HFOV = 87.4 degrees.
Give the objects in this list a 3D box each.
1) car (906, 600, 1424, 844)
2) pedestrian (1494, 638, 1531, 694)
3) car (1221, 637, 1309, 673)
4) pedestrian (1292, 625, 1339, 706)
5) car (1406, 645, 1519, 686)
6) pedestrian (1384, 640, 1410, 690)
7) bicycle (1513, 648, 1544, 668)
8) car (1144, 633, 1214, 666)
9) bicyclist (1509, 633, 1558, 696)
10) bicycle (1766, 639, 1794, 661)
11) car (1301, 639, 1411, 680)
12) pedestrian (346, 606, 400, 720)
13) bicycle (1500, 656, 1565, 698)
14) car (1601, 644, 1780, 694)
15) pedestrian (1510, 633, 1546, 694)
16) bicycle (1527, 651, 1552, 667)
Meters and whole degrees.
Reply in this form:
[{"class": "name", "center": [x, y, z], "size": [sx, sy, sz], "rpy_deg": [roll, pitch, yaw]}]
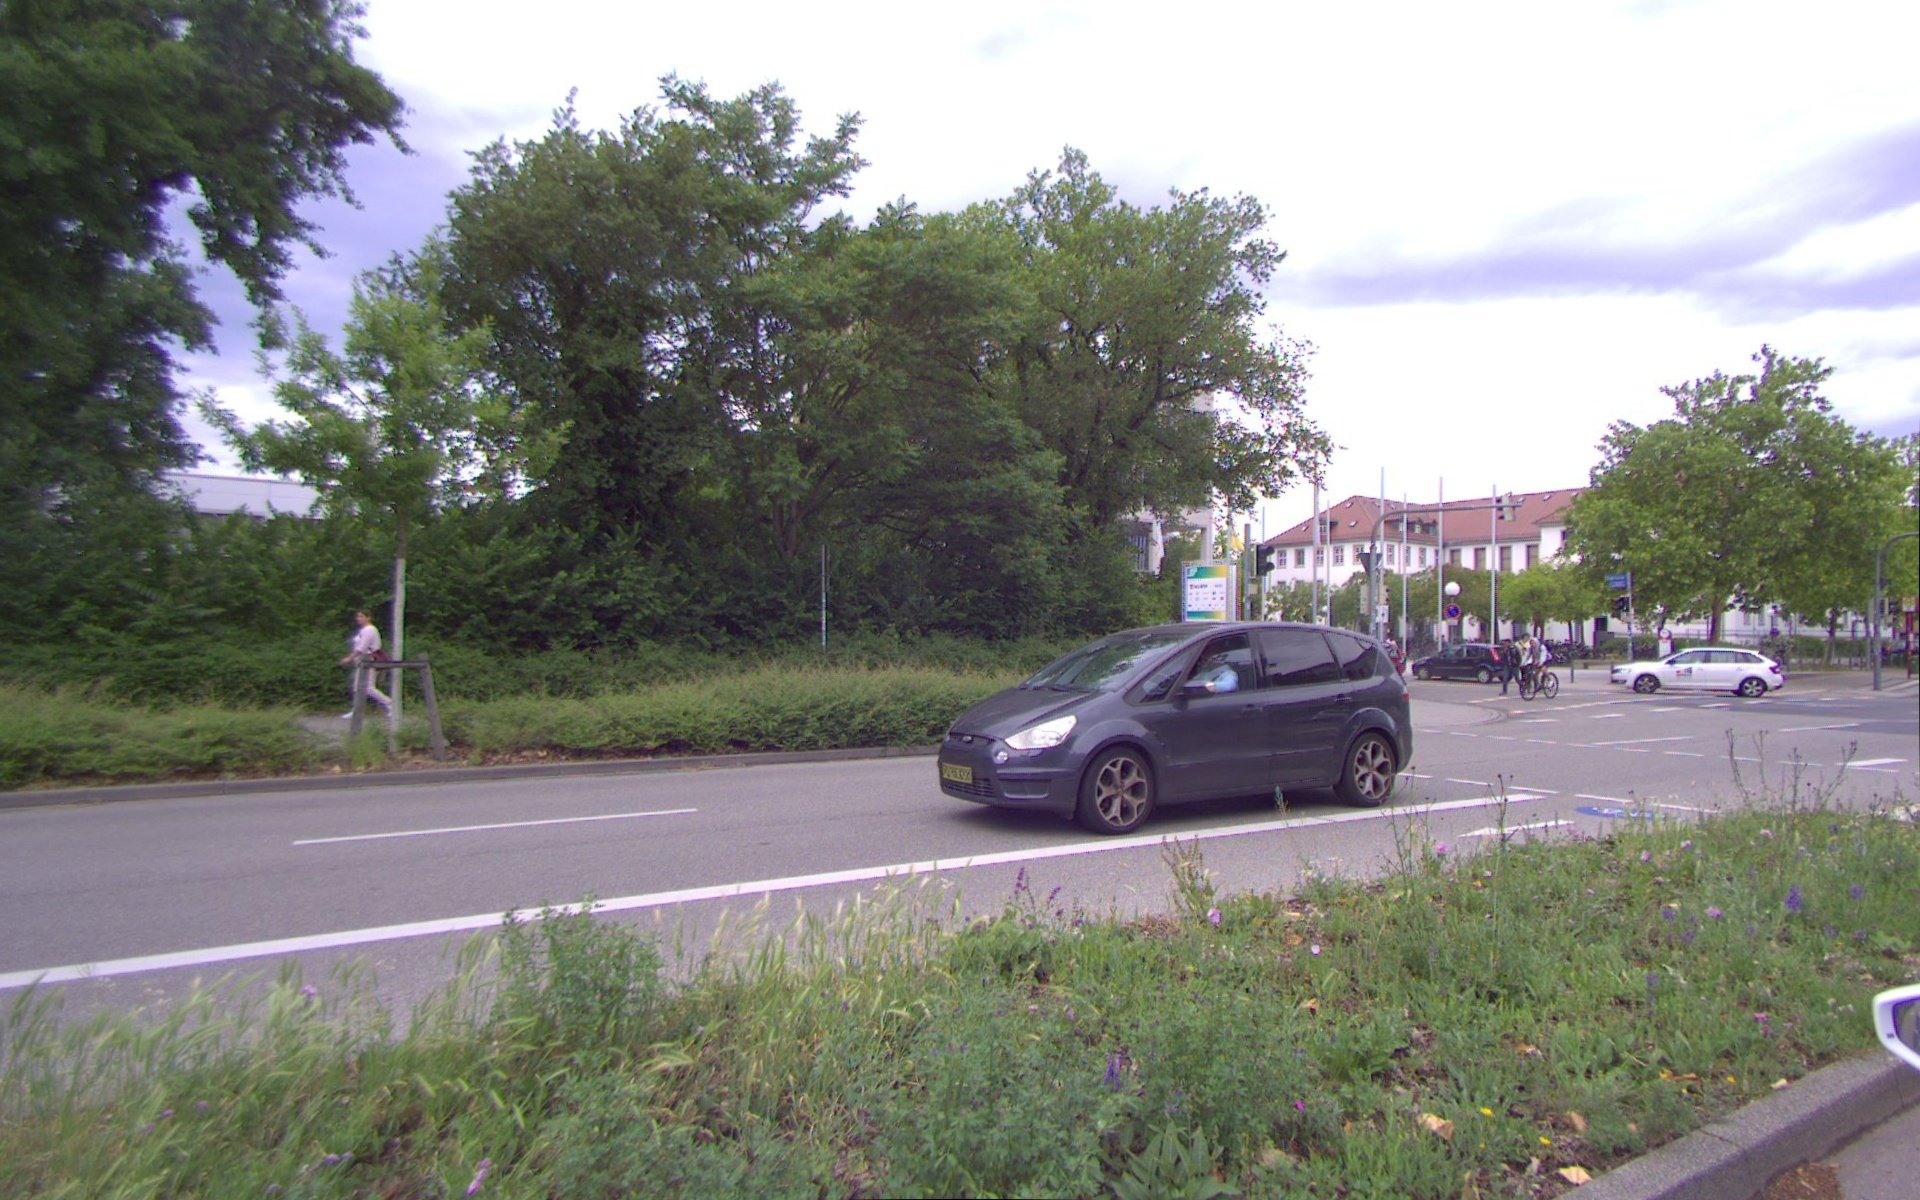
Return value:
[{"class": "car", "center": [1.879, 0.957, 8.906], "size": [4.347, 1.686, 1.912], "rpy_deg": [2, -4, -30]}, {"class": "pedestrian", "center": [16.004, 1.911, 29.102], "size": [0.776, 1.578, 0.700], "rpy_deg": [2, -4, 16]}, {"class": "car", "center": [14.391, 2.563, 47.581], "size": [1.667, 1.560, 3.857], "rpy_deg": [-1, 0, -32]}, {"class": "pedestrian", "center": [8.092, 1.467, 22.896], "size": [0.924, 1.782, 0.876], "rpy_deg": [2, -1, 16]}, {"class": "car", "center": [19.621, 2.533, 39.358], "size": [1.548, 1.240, 3.630], "rpy_deg": [-7, 4, -35]}, {"class": "pedestrian", "center": [13.949, 2.069, 32.031], "size": [0.563, 1.545, 0.846], "rpy_deg": [0, -6, 36]}, {"class": "bicycle", "center": [31.944, 3.256, 56.433], "size": [1.385, 1.066, 0.586], "rpy_deg": [-3, -3, 41]}, {"class": "car", "center": [11.269, 2.533, 51.833], "size": [1.547, 1.499, 3.322], "rpy_deg": [1, 0, -36]}, {"class": "bicyclist", "center": [15.528, 1.744, 27.208], "size": [0.947, 1.657, 0.665], "rpy_deg": [2, -1, -22]}, {"class": "bicycle", "center": [40.998, 2.517, 50.221], "size": [2.025, 1.074, 0.603], "rpy_deg": [1, -3, -37]}, {"class": "car", "center": [16.737, 2.485, 42.600], "size": [4.006, 1.472, 1.613], "rpy_deg": [-2, 3, 43]}, {"class": "pedestrian", "center": [-8.770, 0.932, 15.027], "size": [0.663, 1.657, 0.697], "rpy_deg": [1, -3, -30]}, {"class": "bicycle", "center": [15.491, 2.077, 27.198], "size": [1.596, 1.076, 0.665], "rpy_deg": [2, -1, -22]}, {"class": "car", "center": [22.285, 2.090, 30.855], "size": [4.149, 1.450, 1.709], "rpy_deg": [-2, -3, 26]}, {"class": "pedestrian", "center": [17.085, 1.904, 30.206], "size": [0.829, 1.761, 0.828], "rpy_deg": [0, -6, 36]}, {"class": "bicycle", "center": [32.679, 3.324, 56.675], "size": [1.191, 0.892, 0.263], "rpy_deg": [-2, -3, 38]}]
